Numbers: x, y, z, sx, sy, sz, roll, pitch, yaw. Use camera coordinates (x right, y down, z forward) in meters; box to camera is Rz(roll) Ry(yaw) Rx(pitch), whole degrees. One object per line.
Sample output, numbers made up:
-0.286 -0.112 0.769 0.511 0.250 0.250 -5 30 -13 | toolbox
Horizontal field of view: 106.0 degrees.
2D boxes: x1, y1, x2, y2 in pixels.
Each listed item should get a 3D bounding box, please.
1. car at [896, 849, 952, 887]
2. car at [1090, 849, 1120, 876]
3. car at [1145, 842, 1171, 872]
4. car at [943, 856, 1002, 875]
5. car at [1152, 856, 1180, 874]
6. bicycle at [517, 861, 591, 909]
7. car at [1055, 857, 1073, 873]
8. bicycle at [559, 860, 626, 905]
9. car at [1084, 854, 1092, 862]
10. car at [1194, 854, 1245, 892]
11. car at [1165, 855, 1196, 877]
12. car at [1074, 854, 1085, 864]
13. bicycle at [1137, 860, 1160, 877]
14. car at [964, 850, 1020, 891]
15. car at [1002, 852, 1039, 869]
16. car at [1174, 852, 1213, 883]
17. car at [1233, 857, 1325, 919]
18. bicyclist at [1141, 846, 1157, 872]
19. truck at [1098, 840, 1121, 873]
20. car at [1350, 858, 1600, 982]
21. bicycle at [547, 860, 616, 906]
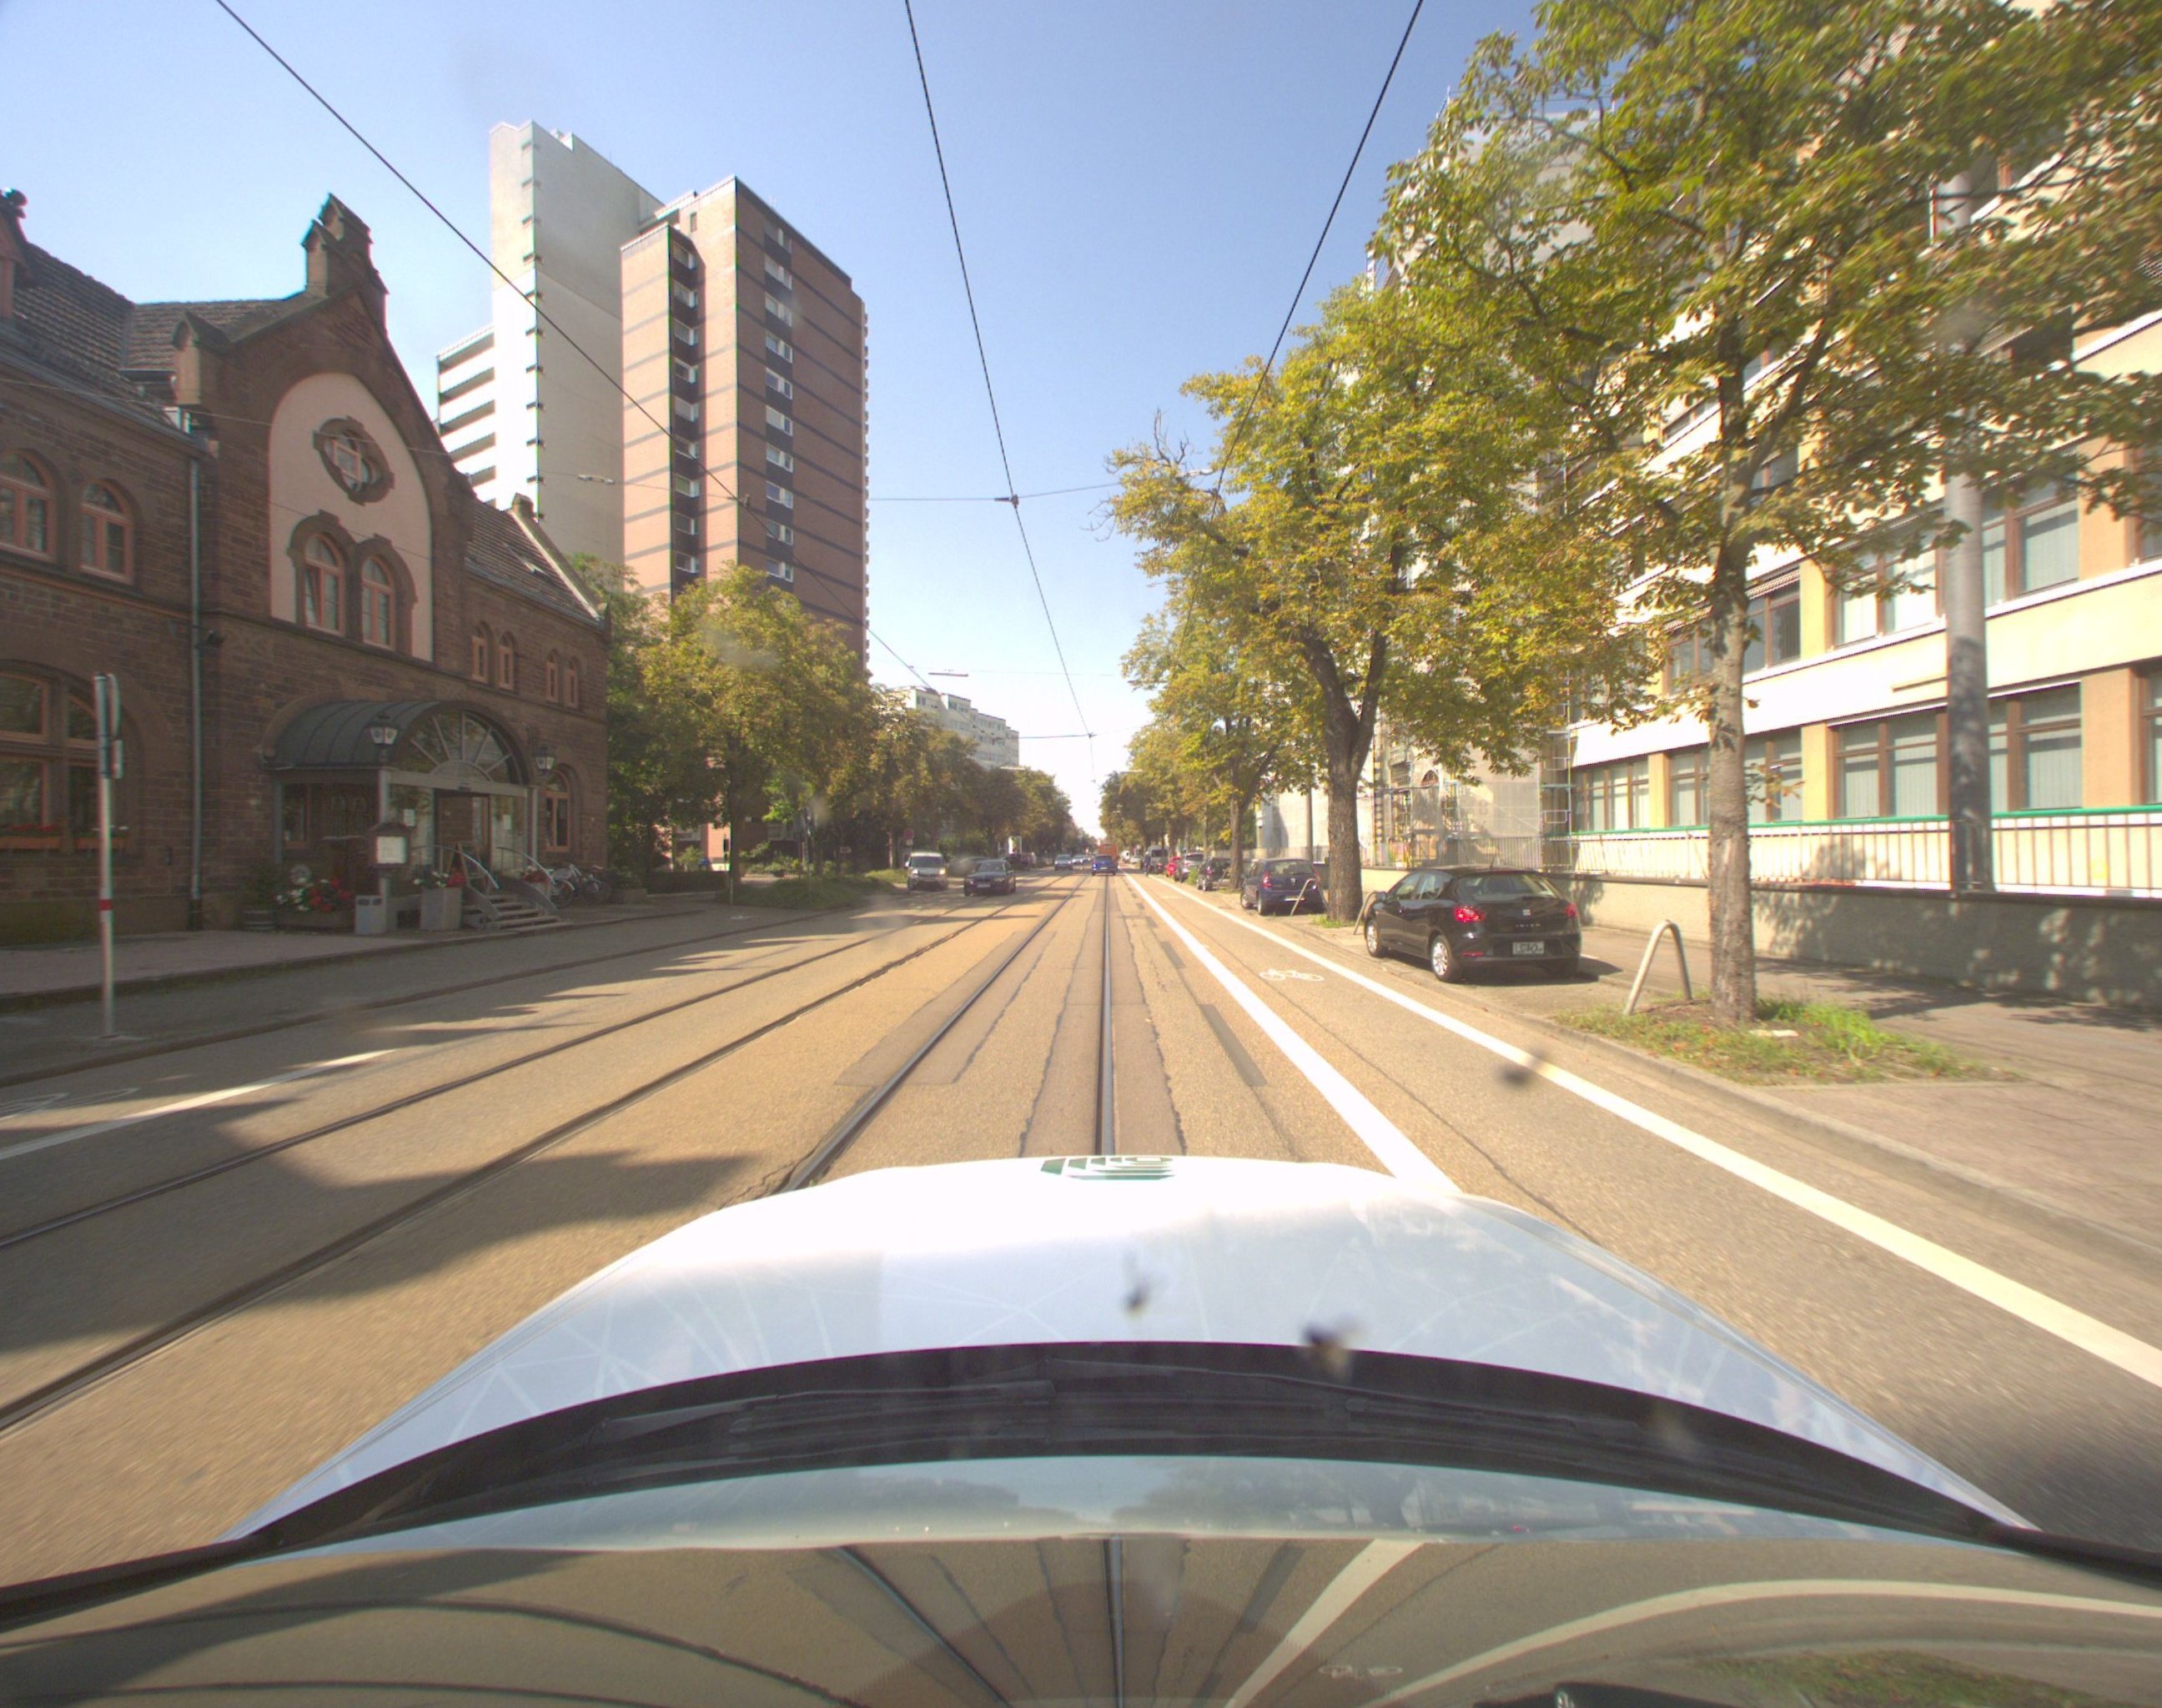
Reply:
-7.796 0.648 40.196 1.756 1.796 3.966 0 0 -26 | car
1.841 0.601 61.070 2.127 1.858 5.571 -1 0 2 | car
7.293 0.294 77.467 1.986 2.755 5.762 0 0 1 | car
-9.157 0.933 68.641 4.587 1.552 1.985 0 0 -22 | car
6.936 0.903 66.872 1.901 1.431 4.293 0 0 1 | car
-12.846 0.749 19.860 1.447 1.093 0.399 3 0 -3 | bicycle
-1.783 1.201 87.555 1.774 1.684 4.348 0 0 1 | car
-12.849 0.748 21.436 1.447 1.093 0.399 3 0 -3 | bicycle
1.535 0.857 179.765 1.892 1.562 4.123 0 0 0 | car
6.087 0.801 36.256 1.628 1.585 4.189 0 0 1 | car
6.901 0.837 56.727 1.734 1.462 3.684 0 0 1 | car
-0.209 0.783 125.759 1.628 1.585 4.189 0 0 1 | car
4.748 1.003 57.403 1.396 1.134 4.002 0 0 2 | bicycle
-3.586 0.624 33.501 1.675 1.571 4.208 0 0 2 | car
-7.147 0.763 96.427 4.021 2.013 1.835 0 0 -41 | car
6.353 0.747 46.351 1.734 1.668 4.362 0 0 1 | car
5.508 0.893 23.162 1.736 1.556 4.219 -1 0 2 | car
4.780 0.326 57.411 1.028 1.812 1.016 0 0 1 | bicyclist
2.789 0.211 80.181 2.127 3.124 6.088 -1 0 2 | truck
5.290 0.785 11.609 1.653 1.408 4.219 -1 0 2 | car
-12.863 0.748 20.985 1.447 1.093 0.399 3 0 -3 | bicycle
